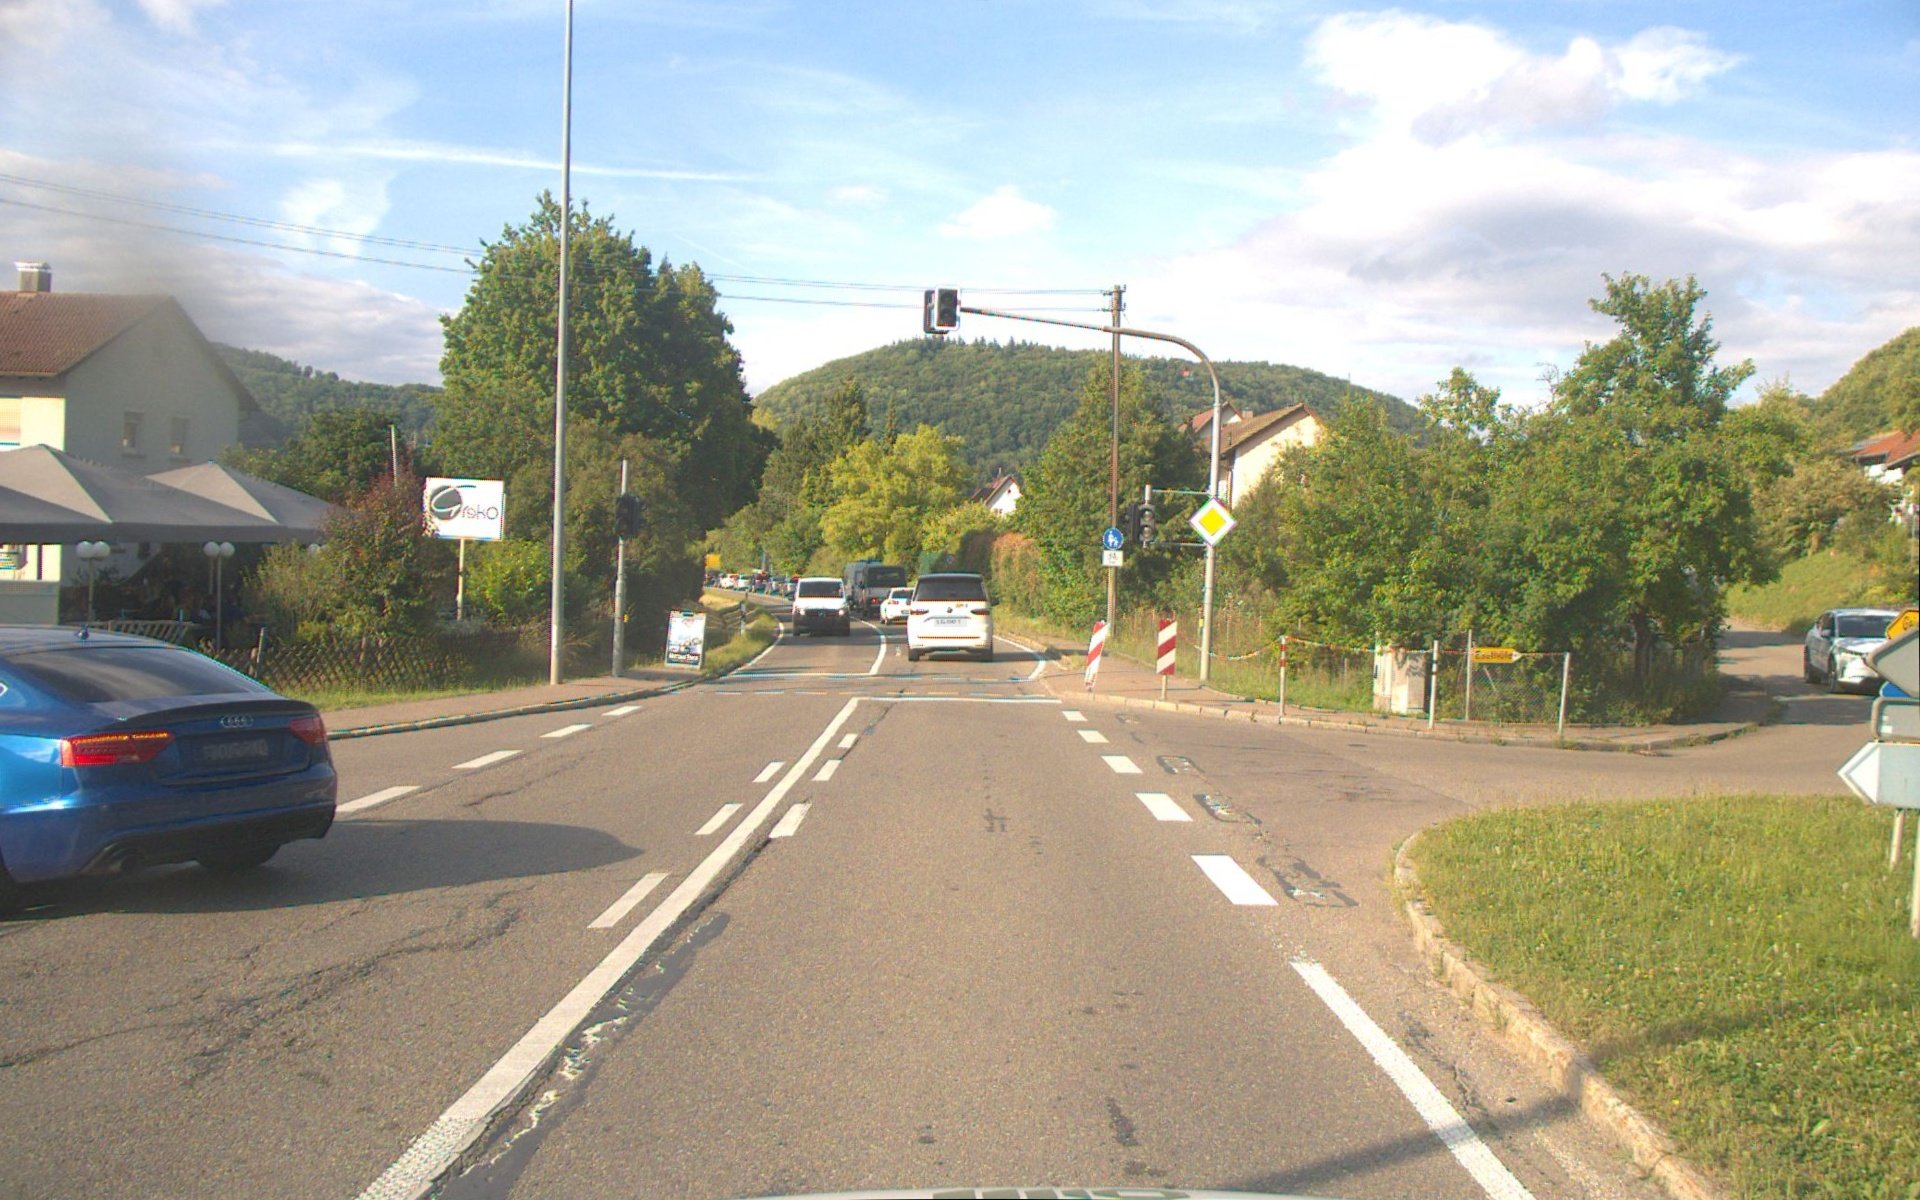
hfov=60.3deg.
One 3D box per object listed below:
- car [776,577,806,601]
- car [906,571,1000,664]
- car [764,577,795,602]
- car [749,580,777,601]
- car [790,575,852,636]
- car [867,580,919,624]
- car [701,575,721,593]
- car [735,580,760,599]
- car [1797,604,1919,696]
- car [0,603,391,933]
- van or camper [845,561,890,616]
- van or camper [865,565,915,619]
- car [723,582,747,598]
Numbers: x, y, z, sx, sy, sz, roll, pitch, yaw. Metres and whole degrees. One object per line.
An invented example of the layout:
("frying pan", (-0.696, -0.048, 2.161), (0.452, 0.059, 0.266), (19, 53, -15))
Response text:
("car", (-13.080, -0.865, 127.844), (1.765, 1.825, 3.987), (0, 1, -13))
("car", (-0.104, 0.337, 37.894), (1.952, 1.909, 4.872), (3, 1, 1))
("car", (-14.904, -0.859, 136.302), (1.960, 2.049, 3.985), (0, 1, -14))
("car", (-17.291, -0.836, 144.932), (2.006, 1.713, 3.986), (1, 1, -14))
("car", (-4.667, 0.138, 55.694), (1.954, 1.937, 5.248), (-1, 1, -5))
("car", (-2.772, 0.070, 67.356), (1.954, 1.713, 3.996), (1, 0, -5))
("car", (-26.644, -1.698, 176.713), (1.742, 1.814, 3.986), (0, 0, -14))
("car", (-19.696, -0.945, 153.278), (1.909, 1.713, 3.986), (0, 0, -14))
("car", (18.478, 0.961, 33.749), (1.828, 1.638, 4.574), (2, 1, 19))
("car", (-5.315, 0.746, 8.983), (4.130, 1.434, 1.834), (0, 0, 26))
("van or camper", (-5.191, -0.650, 92.235), (2.368, 2.955, 6.126), (1, 0, -4))
("van or camper", (-3.310, -0.384, 77.600), (2.137, 2.427, 5.365), (1, 0, -4))
("car", (-22.075, -0.997, 162.336), (1.909, 1.449, 3.986), (1, 1, -14))
